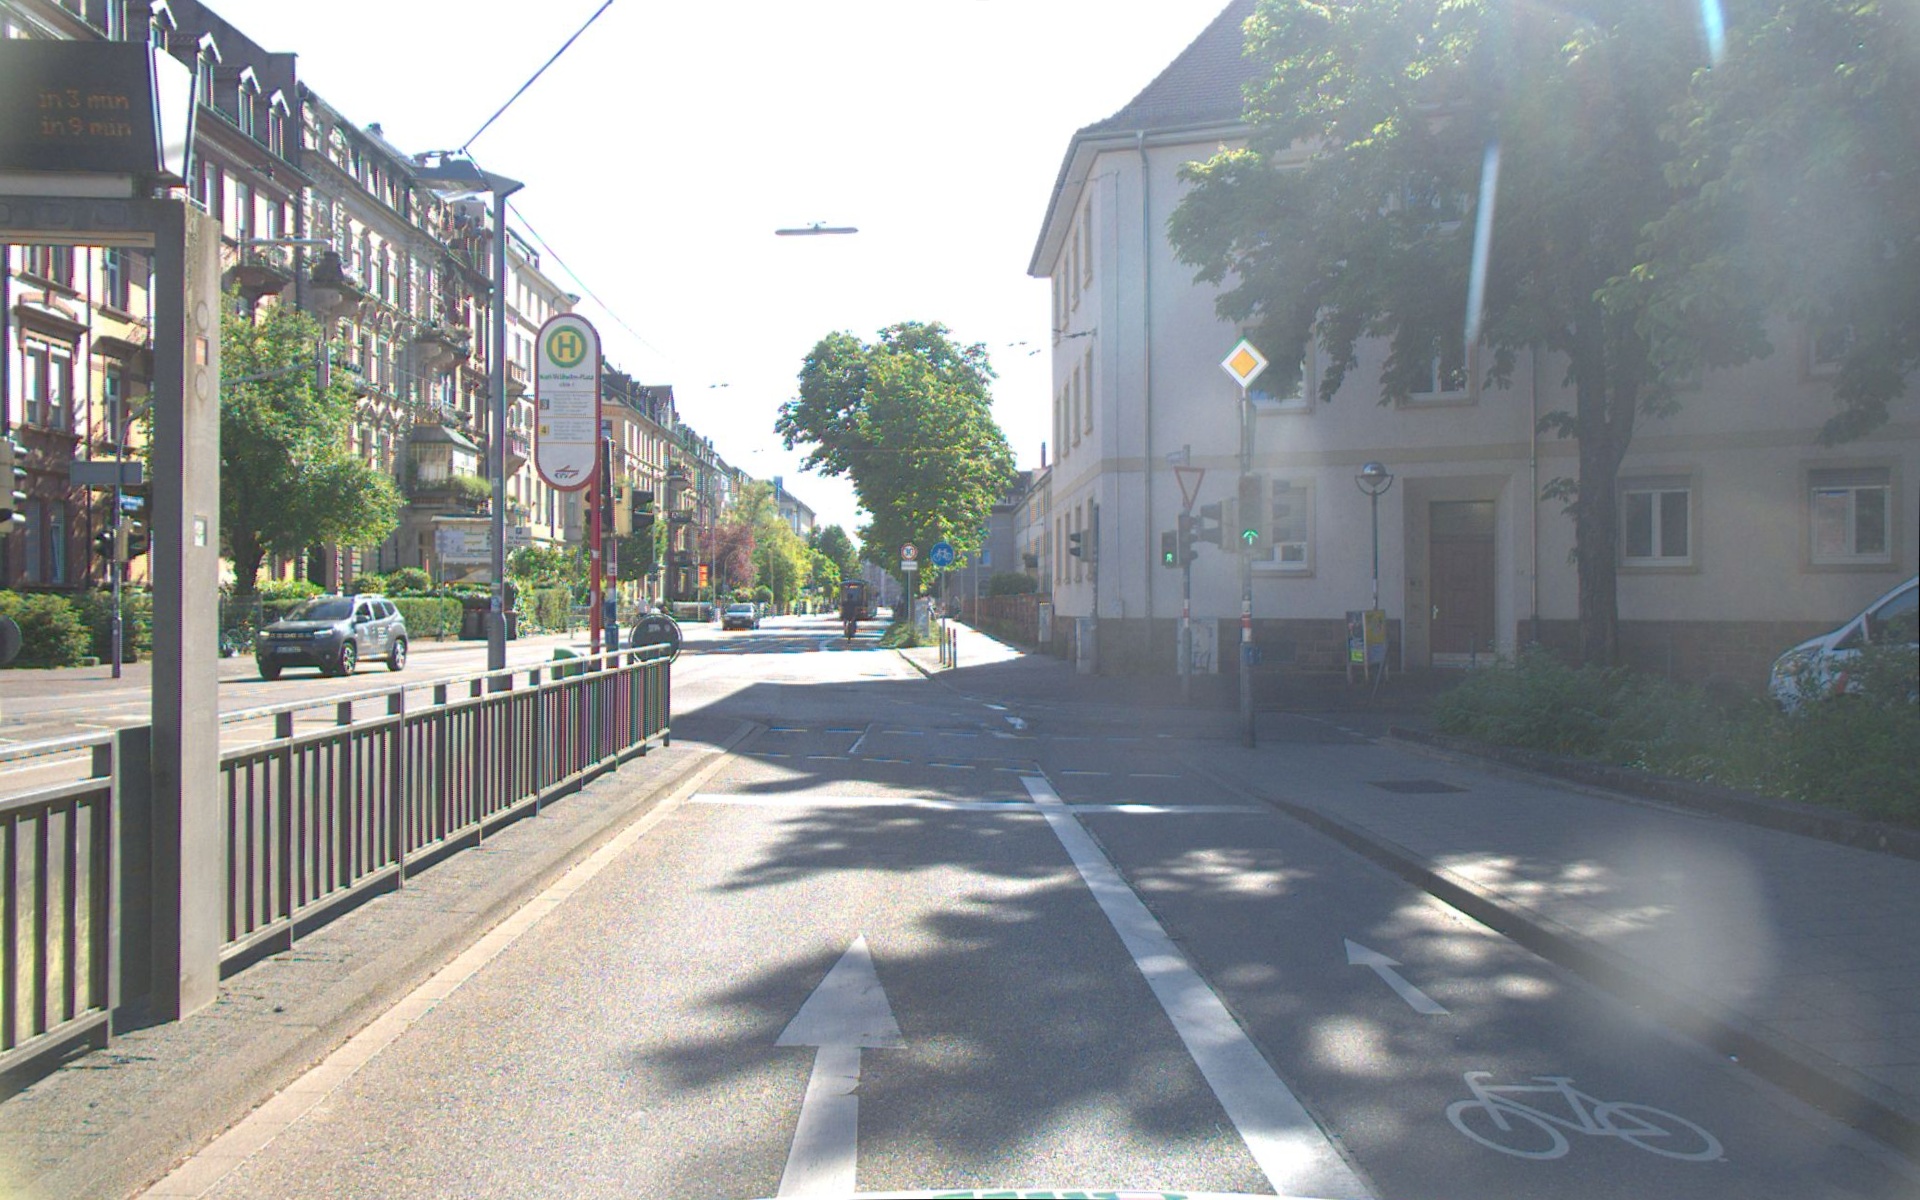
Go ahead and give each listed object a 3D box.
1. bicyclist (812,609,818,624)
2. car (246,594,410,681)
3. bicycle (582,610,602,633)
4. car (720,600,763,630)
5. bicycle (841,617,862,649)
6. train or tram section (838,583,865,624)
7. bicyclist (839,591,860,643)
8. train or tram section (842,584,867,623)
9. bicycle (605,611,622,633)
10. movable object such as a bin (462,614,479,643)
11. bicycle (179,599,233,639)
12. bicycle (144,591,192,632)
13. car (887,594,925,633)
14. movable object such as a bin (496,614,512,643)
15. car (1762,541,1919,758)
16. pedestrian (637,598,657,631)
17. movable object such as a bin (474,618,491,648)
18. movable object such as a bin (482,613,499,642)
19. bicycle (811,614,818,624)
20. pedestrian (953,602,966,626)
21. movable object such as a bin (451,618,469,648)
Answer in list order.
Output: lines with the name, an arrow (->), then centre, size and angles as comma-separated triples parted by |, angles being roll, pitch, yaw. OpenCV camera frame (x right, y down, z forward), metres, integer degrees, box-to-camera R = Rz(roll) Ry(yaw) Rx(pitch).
bicyclist -> -17.824, 2.005, 202.830 | 0.647, 1.833, 0.615 | -2, -1, -2
car -> -13.062, 0.747, 34.474 | 1.859, 1.646, 4.263 | -2, 0, -2
bicycle -> -17.969, 1.038, 80.811 | 0.551, 1.051, 1.767 | 1, 1, -1
car -> -12.106, 0.821, 91.911 | 1.795, 1.544, 4.965 | 2, 0, -1
bicycle -> -4.018, 1.223, 61.097 | 0.678, 1.132, 1.718 | 1, 0, -1
train or tram section -> -9.672, 0.304, 148.130 | 2.110, 3.492, 6.608 | 1, 0, -2
bicyclist -> -4.074, 0.619, 61.012 | 0.713, 1.880, 0.836 | 1, 0, -2
train or tram section -> -9.851, 0.303, 154.793 | 2.110, 3.492, 6.608 | 1, 0, -2
bicycle -> -17.844, 1.124, 85.133 | 0.552, 1.051, 1.767 | 1, 0, -2
movable object such as a bin -> -18.768, 1.077, 63.416 | 0.469, 1.105, 0.541 | 1, 0, 0
bicycle -> -18.556, 0.454, 40.725 | 0.334, 0.942, 1.943 | 1, 0, 3
bicycle -> -18.628, 0.269, 38.912 | 0.334, 0.942, 1.453 | 1, 0, 3
car -> -2.608, 0.635, 79.445 | 1.708, 1.797, 4.476 | 1, 0, -2
movable object such as a bin -> -17.513, 1.096, 63.518 | 0.469, 1.105, 0.541 | 1, 0, 0
car -> 10.583, 0.511, 16.127 | 1.674, 2.128, 4.681 | 2, 0, -44
pedestrian -> -16.747, 0.777, 88.463 | 0.812, 1.754, 1.082 | 1, -1, -2
movable object such as a bin -> -18.167, 1.257, 62.915 | 0.469, 1.105, 0.541 | 1, 0, 0
movable object such as a bin -> -18.064, 1.066, 63.613 | 0.469, 1.105, 0.541 | 1, 0, 0
bicycle -> -17.828, 2.303, 202.617 | 0.678, 1.132, 1.718 | -1, 0, -1
pedestrian -> -0.070, 1.028, 122.359 | 0.748, 1.754, 0.579 | 1, 0, 28
movable object such as a bin -> -18.961, 1.257, 62.699 | 0.469, 1.105, 0.541 | 1, 0, 0
